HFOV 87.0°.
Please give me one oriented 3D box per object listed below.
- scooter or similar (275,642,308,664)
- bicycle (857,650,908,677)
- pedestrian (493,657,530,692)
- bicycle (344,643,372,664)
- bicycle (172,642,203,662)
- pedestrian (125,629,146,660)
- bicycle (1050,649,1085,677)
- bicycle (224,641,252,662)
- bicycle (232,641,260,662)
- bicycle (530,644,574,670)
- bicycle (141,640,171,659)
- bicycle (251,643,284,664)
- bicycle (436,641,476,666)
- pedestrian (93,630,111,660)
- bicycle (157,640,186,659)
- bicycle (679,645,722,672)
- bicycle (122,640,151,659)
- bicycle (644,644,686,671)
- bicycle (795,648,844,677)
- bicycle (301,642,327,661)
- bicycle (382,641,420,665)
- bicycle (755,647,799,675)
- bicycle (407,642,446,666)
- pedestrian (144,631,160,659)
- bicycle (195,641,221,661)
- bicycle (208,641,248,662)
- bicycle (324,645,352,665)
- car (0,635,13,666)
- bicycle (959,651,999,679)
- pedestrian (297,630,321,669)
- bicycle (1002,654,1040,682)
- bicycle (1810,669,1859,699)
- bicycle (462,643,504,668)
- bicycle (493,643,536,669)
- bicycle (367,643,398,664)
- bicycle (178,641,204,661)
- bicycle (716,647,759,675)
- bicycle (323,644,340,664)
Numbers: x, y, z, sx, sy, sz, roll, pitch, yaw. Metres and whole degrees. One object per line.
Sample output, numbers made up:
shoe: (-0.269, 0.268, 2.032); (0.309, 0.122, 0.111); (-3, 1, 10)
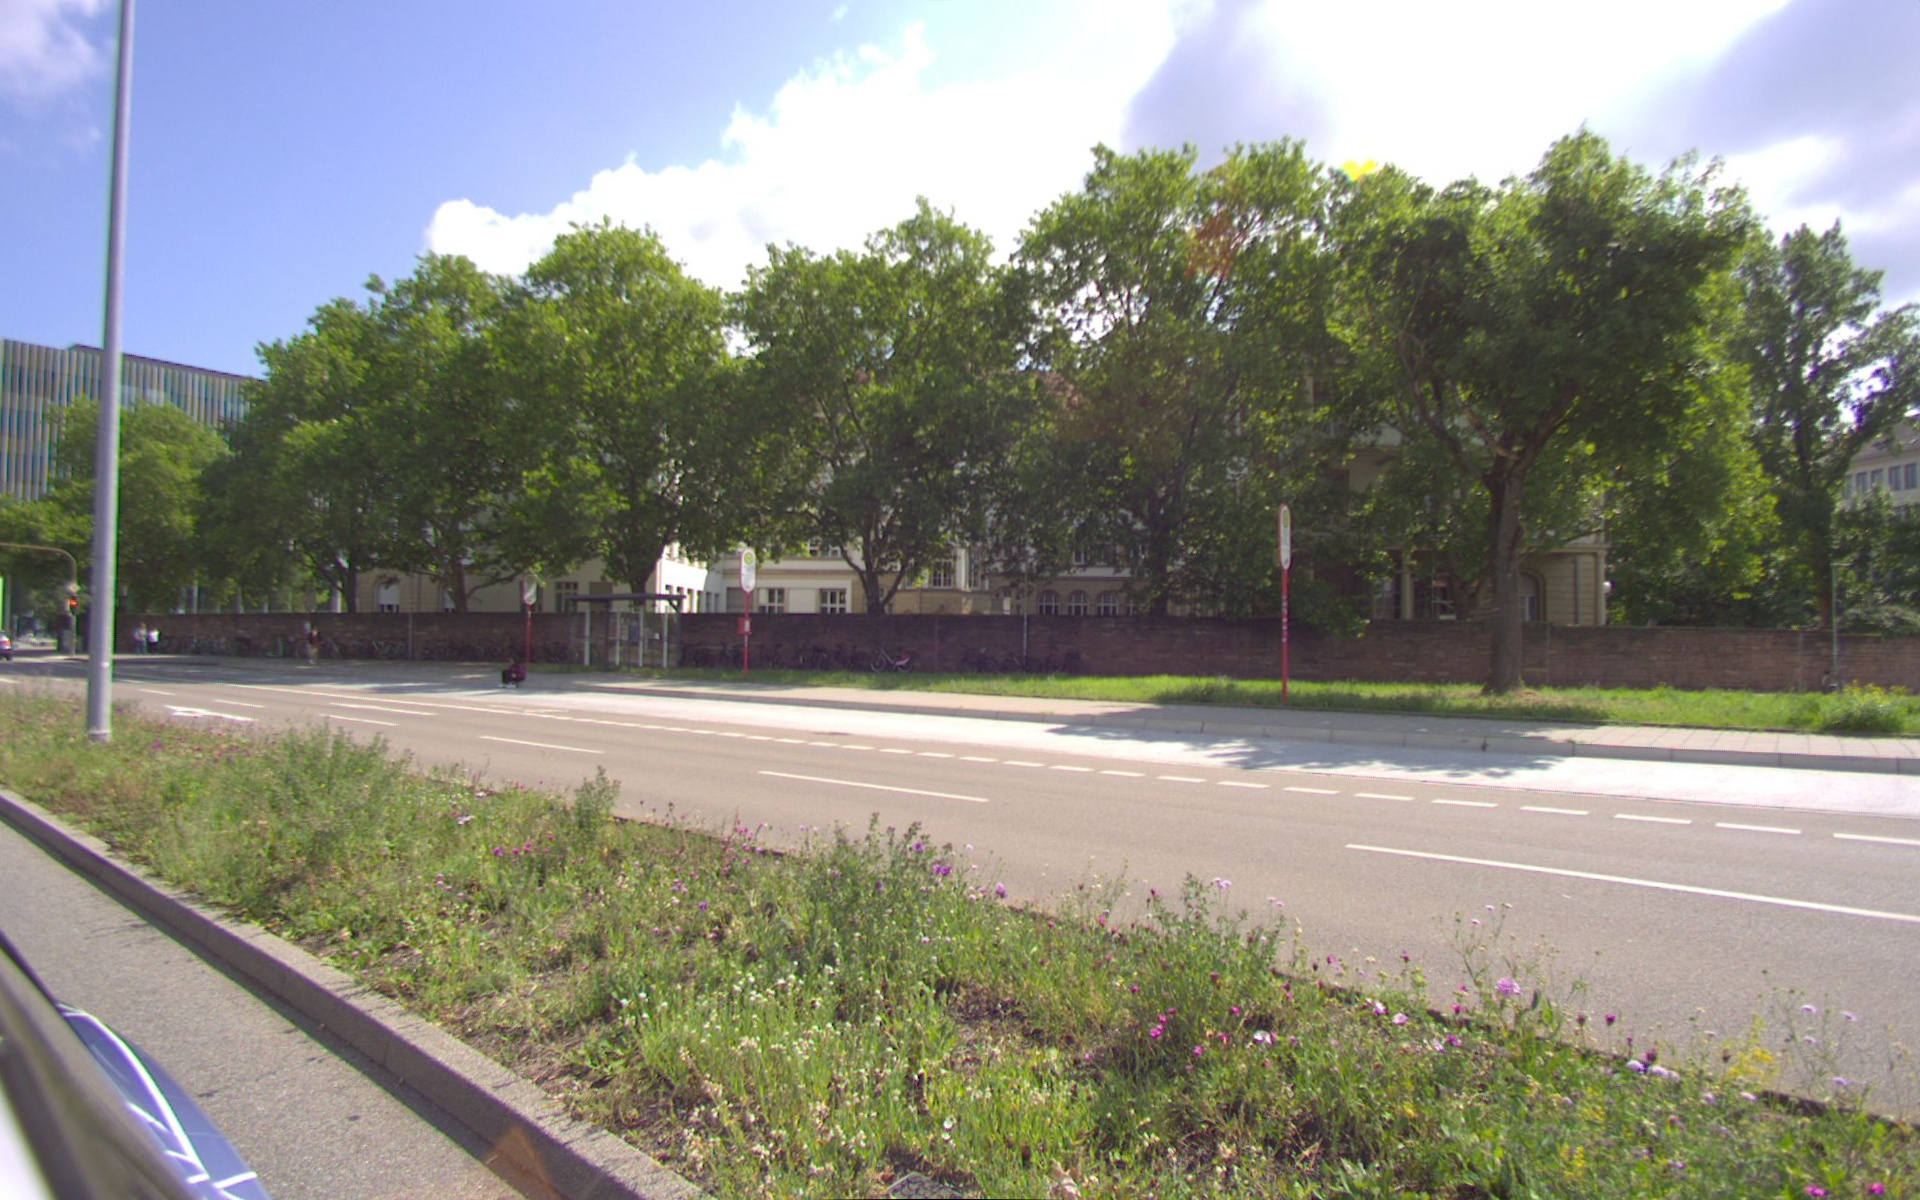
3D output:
scooter or similar: (-33.585, 2.648, 50.821); (1.873, 1.056, 0.576); (-1, -3, 29)
bicycle: (-2.968, 2.431, 38.802); (1.947, 1.019, 0.469); (-1, -3, 18)
pedestrian: (-12.848, 2.124, 28.988); (0.742, 0.970, 0.688); (-2, -3, 37)
bicycle: (-28.737, 2.560, 48.304); (1.393, 0.962, 0.365); (-1, -3, 23)
bicycle: (-41.389, 2.787, 54.222); (1.873, 1.056, 0.588); (-1, -3, 29)
pedestrian: (-45.011, 2.440, 55.224); (0.729, 1.664, 0.636); (-1, -3, 33)
bicycle: (3.983, 2.315, 37.339); (1.244, 1.019, 0.351); (-1, -3, 18)
bicycle: (-37.247, 2.630, 52.196); (1.873, 1.056, 0.370); (-1, -3, 29)
bicycle: (-37.077, 2.661, 52.550); (1.873, 1.056, 0.391); (-1, -3, 29)
bicycle: (-17.428, 2.446, 43.253); (1.740, 1.081, 0.581); (-1, -3, 17)
bicycle: (-45.850, 2.831, 57.695); (1.873, 1.056, 0.625); (-1, -3, 29)
bicycle: (-35.381, 2.711, 51.678); (1.873, 1.056, 0.576); (-1, -3, 29)
bicycle: (-22.604, 2.396, 45.364); (1.743, 1.081, 0.580); (-1, -3, 22)
pedestrian: (-48.536, 2.533, 57.258); (0.725, 1.664, 0.556); (-1, -3, 33)
bicycle: (-44.183, 2.787, 56.702); (1.873, 1.056, 0.560); (-1, -3, 29)
bicycle: (-10.485, 2.360, 40.900); (1.617, 1.081, 0.581); (-1, -3, 17)
bicycle: (-47.786, 2.867, 58.753); (1.873, 1.056, 0.625); (-1, -3, 29)
bicycle: (-12.070, 2.343, 41.398); (1.617, 1.081, 0.581); (-1, -3, 17)
bicycle: (-5.473, 2.418, 39.464); (1.857, 1.081, 0.580); (-1, -3, 21)
bicycle: (-31.939, 2.540, 50.033); (1.393, 0.962, 0.365); (-1, -3, 23)
bicycle: (-25.820, 2.444, 46.770); (1.744, 1.081, 0.579); (-1, -3, 23)
bicycle: (-7.230, 2.411, 39.949); (1.617, 1.081, 0.581); (-1, -3, 17)
bicycle: (-24.257, 2.454, 46.048); (1.744, 1.081, 0.579); (-1, -3, 23)
pedestrian: (-44.914, 2.522, 56.250); (0.614, 1.552, 0.472); (-1, -3, 33)
bicycle: (-40.509, 2.766, 54.525); (1.873, 1.056, 0.367); (-1, -3, 29)
bicycle: (-38.676, 2.714, 53.481); (1.862, 1.056, 0.591); (0, -3, 14)
bicycle: (-30.058, 2.661, 48.899); (1.393, 0.962, 0.365); (-1, -3, 23)
car: (-46.465, 2.374, 47.932); (4.140, 1.456, 1.684); (-2, -4, 38)
bicycle: (0.724, 2.441, 37.975); (1.444, 1.019, 0.469); (-1, -3, 18)
pedestrian: (-27.392, 2.089, 42.591); (0.744, 1.622, 0.649); (-2, -2, 39)
bicycle: (2.273, 2.527, 37.678); (1.358, 1.019, 0.390); (-1, -3, 18)
bicycle: (30.379, 2.906, 35.159); (1.498, 0.999, 0.395); (1, -2, -9)
bicycle: (-21.003, 2.422, 44.562); (1.740, 1.081, 0.581); (-1, -3, 17)
bicycle: (-19.335, 2.433, 43.934); (1.740, 1.081, 0.581); (-1, -3, 17)
bicycle: (-27.129, 2.504, 47.551); (1.616, 0.962, 0.368); (-1, -3, 23)
bicycle: (-42.256, 2.787, 55.591); (1.873, 1.056, 0.367); (-1, -3, 29)
bicycle: (-8.877, 2.432, 40.410); (1.617, 1.081, 0.581); (-1, -3, 17)
bicycle: (-29.770, 2.548, 47.939); (0.362, 0.962, 1.626); (2, -3, -43)
